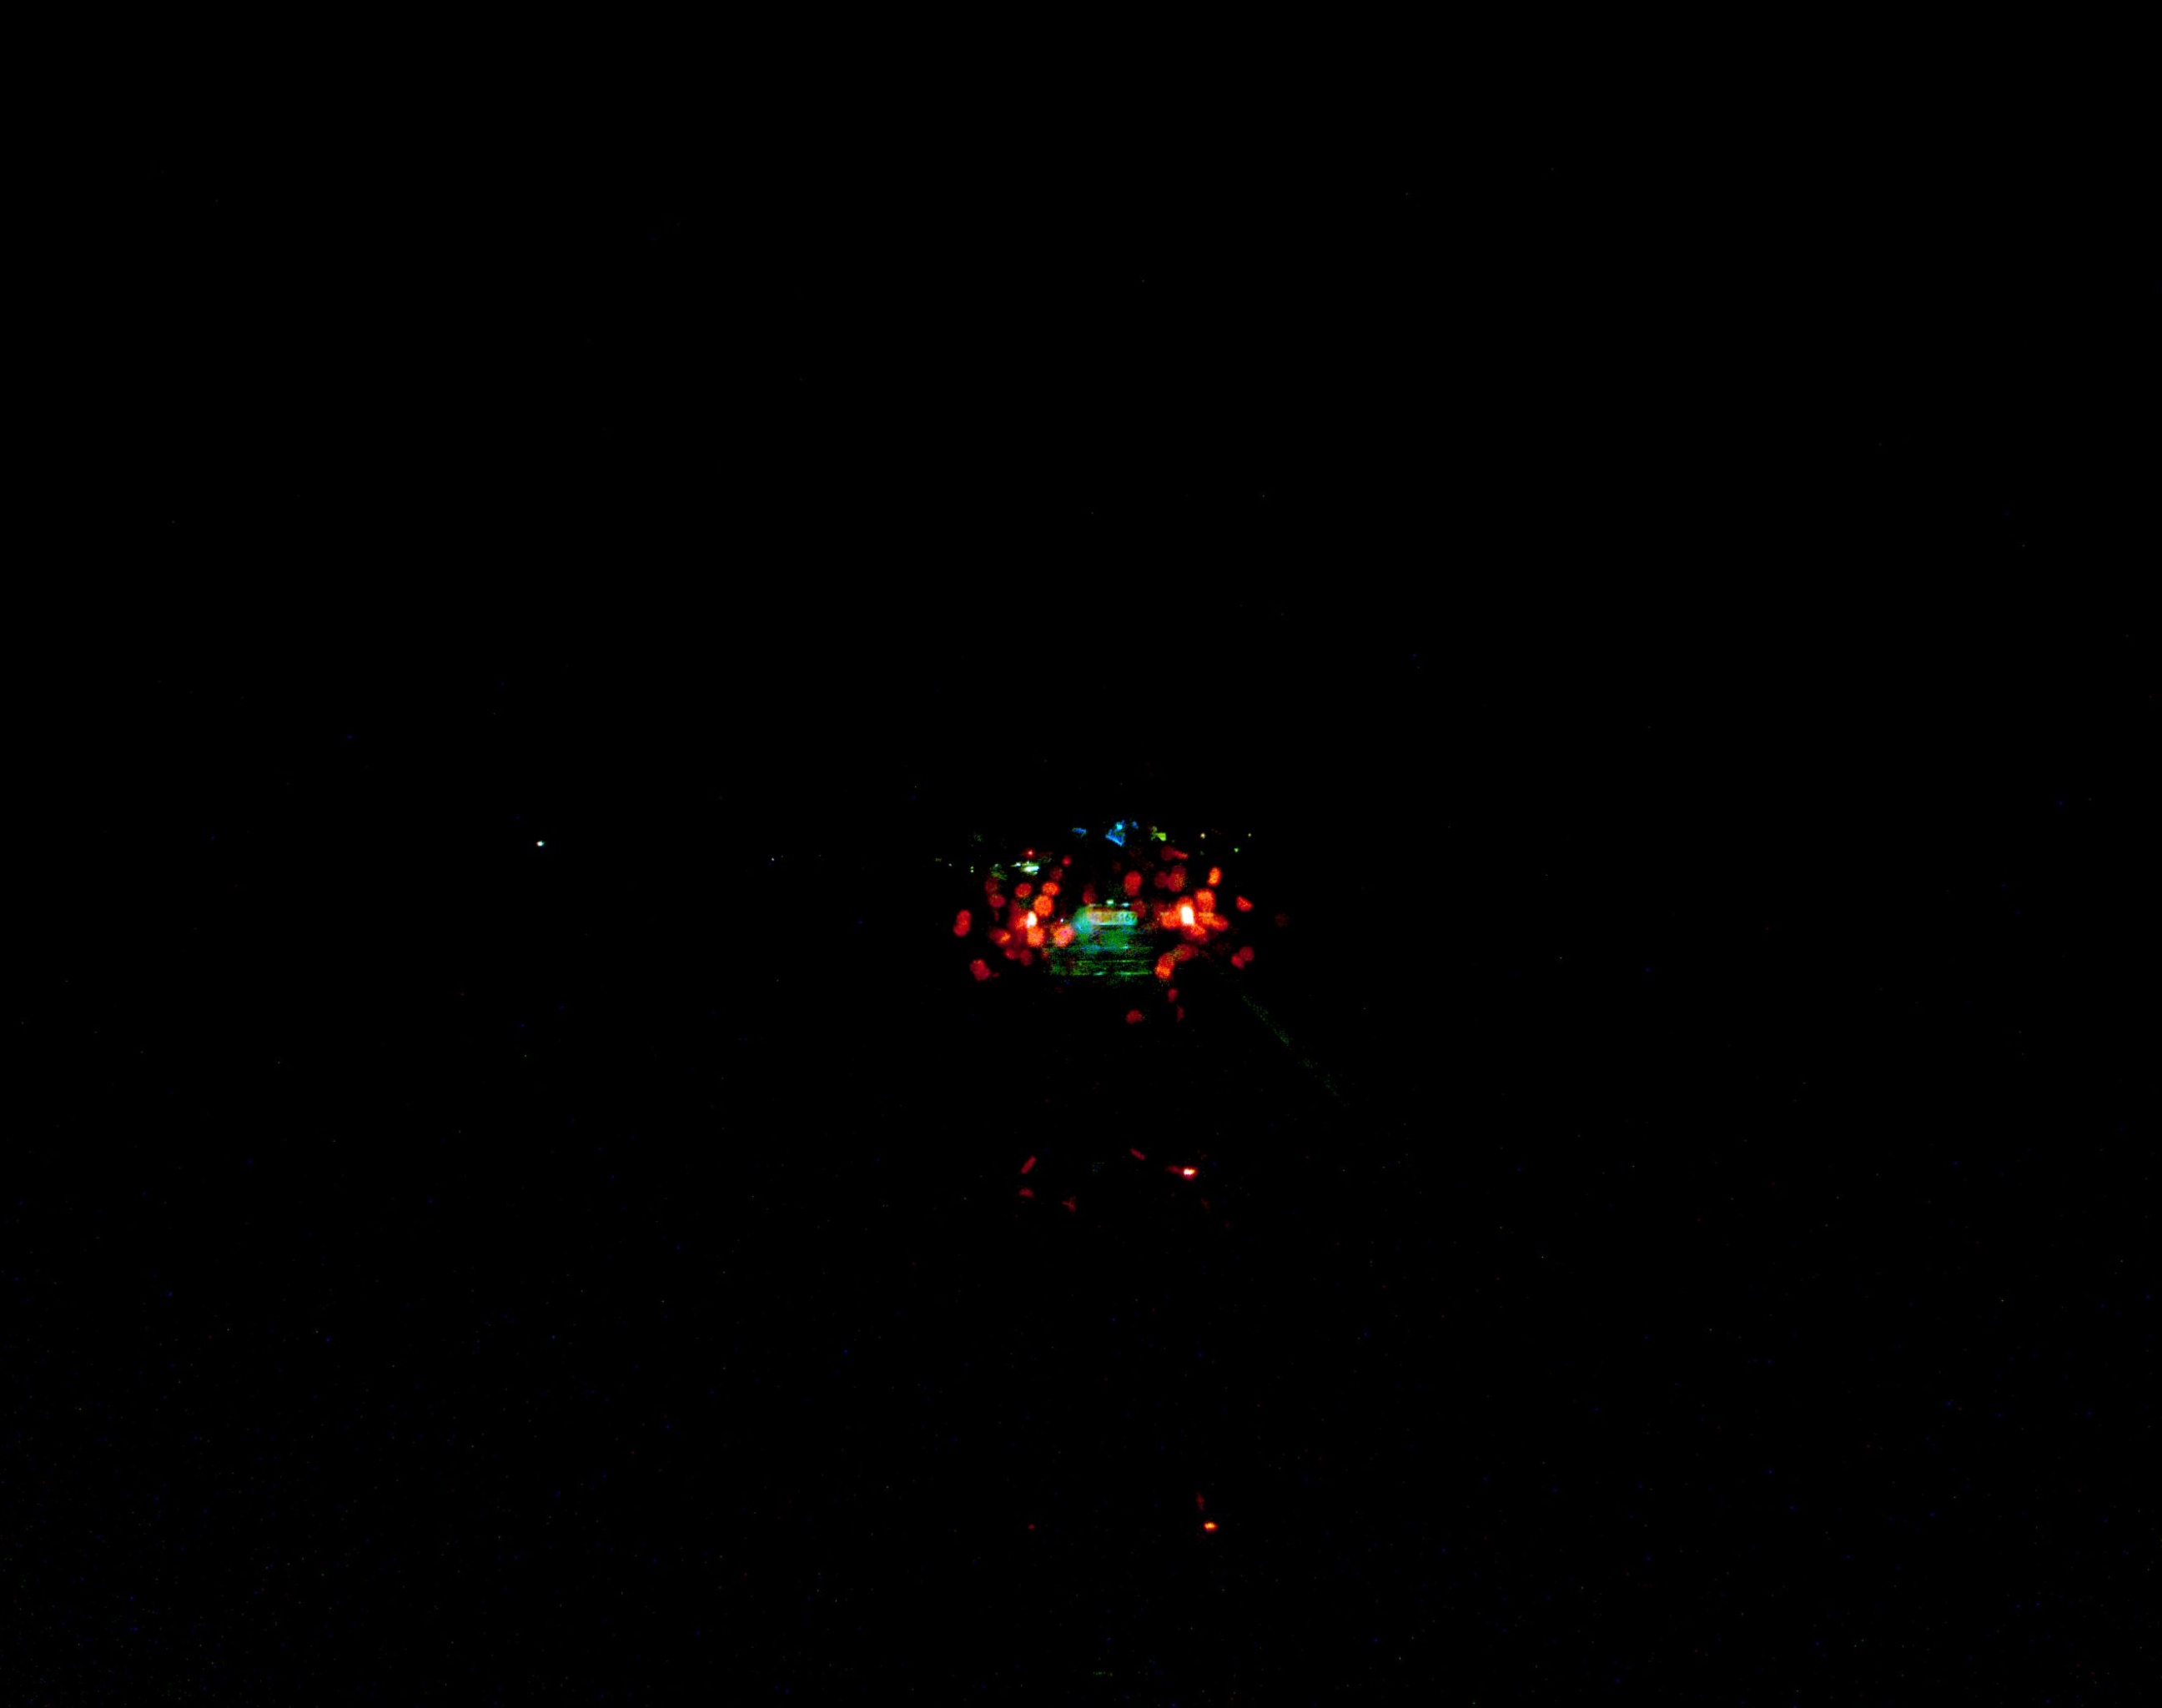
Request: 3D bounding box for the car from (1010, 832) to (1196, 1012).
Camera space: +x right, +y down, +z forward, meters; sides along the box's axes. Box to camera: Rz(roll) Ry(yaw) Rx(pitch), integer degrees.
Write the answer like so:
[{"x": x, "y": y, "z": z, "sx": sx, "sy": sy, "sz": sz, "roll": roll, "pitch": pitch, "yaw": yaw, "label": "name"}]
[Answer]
[{"x": 0.296, "y": 0.684, "z": 9.863, "sx": 1.768, "sy": 1.712, "sz": 4.002, "roll": -1, "pitch": -1, "yaw": 2, "label": "car"}]
